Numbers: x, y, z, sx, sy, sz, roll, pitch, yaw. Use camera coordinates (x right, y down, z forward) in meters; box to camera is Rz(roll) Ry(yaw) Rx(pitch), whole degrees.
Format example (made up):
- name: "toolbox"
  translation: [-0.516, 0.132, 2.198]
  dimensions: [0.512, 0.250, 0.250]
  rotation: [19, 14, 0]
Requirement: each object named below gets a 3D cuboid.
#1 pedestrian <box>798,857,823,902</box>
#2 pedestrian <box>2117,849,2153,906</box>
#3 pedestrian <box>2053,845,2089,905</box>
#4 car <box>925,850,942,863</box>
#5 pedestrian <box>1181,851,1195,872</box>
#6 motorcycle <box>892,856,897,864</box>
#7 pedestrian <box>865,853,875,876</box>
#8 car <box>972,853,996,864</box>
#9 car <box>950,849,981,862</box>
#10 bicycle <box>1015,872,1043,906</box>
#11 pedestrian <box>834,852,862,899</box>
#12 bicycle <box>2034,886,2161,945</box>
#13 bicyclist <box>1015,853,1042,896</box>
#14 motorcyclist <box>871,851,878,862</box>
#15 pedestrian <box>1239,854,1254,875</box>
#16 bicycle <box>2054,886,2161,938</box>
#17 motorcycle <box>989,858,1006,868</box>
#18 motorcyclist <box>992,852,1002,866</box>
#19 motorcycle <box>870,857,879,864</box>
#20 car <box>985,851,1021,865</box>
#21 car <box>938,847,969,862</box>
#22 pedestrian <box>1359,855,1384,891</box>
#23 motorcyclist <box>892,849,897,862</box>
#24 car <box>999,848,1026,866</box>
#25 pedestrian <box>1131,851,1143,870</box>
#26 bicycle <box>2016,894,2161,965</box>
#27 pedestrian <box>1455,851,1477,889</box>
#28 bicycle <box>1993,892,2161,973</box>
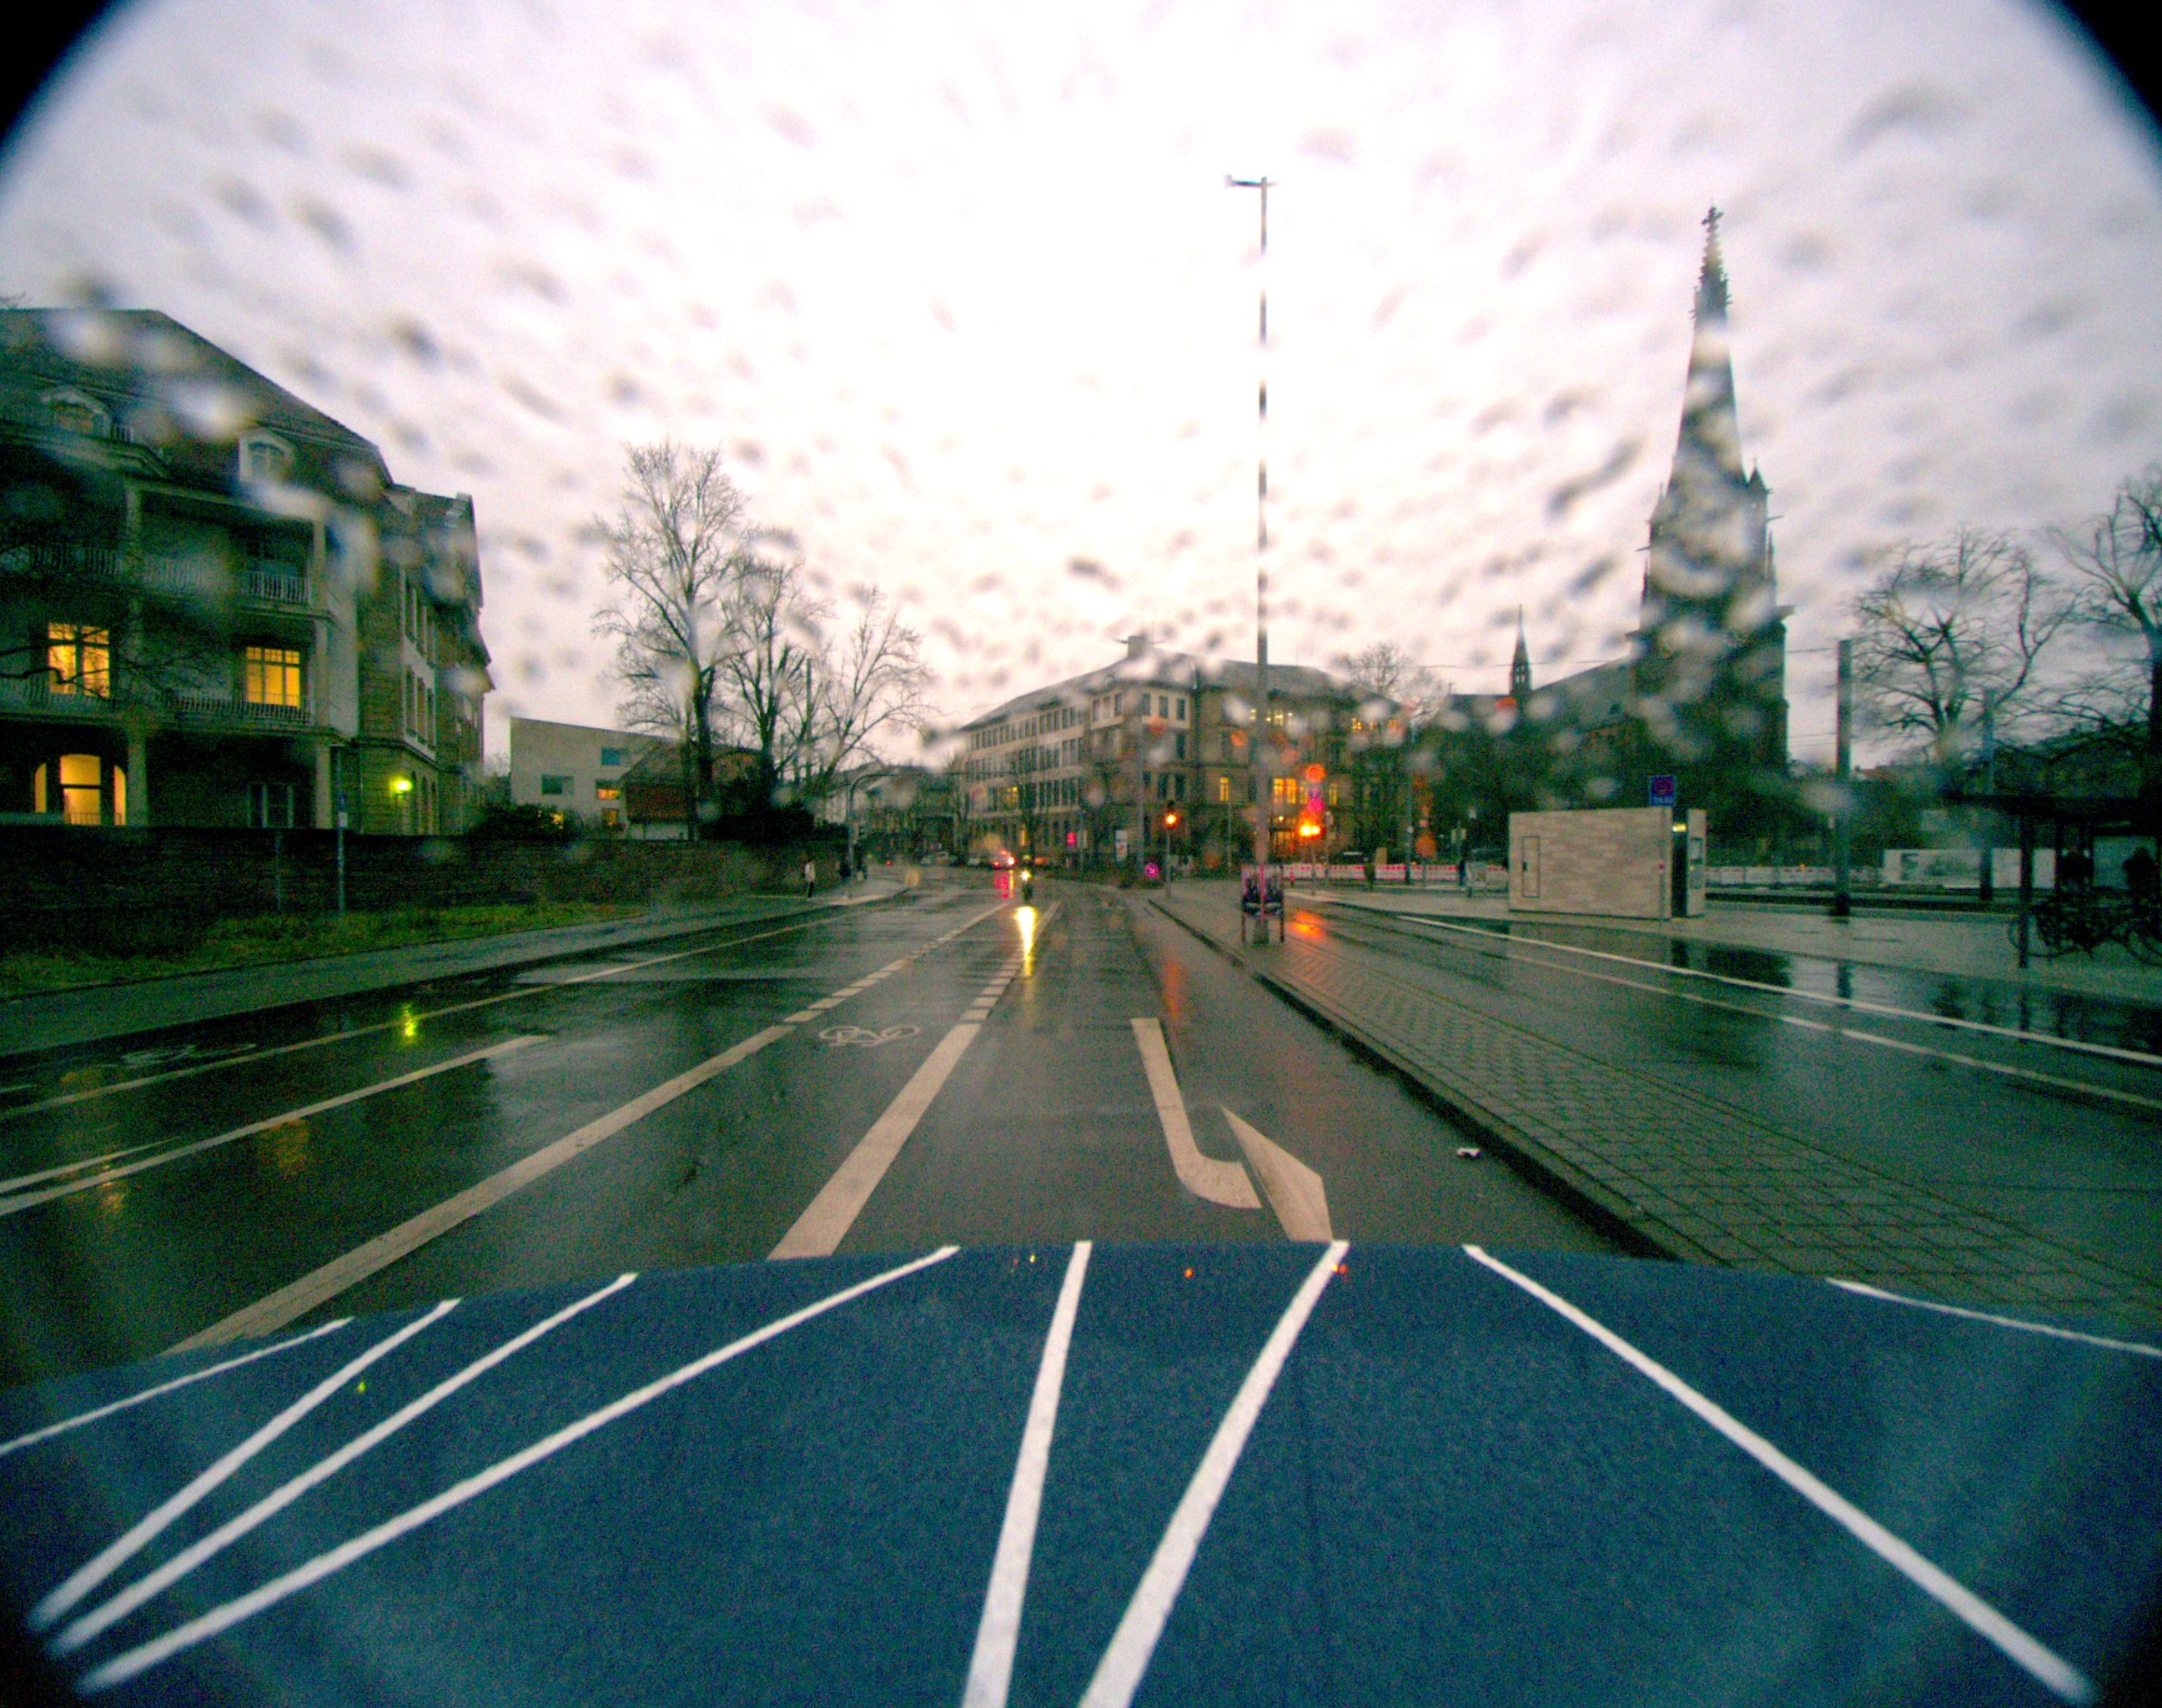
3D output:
- name: "pedestrian"
  translation: [-10.573, 0.988, 29.750]
  dimensions: [0.799, 1.713, 0.673]
  rotation: [1, 1, -10]
- name: "pedestrian"
  translation: [31.045, 0.683, 22.386]
  dimensions: [0.541, 1.642, 0.562]
  rotation: [-3, 2, -41]
- name: "pedestrian"
  translation: [30.233, 0.634, 23.214]
  dimensions: [0.673, 1.785, 0.626]
  rotation: [-3, 2, -41]
- name: "car"
  translation: [-20.737, 0.378, 106.846]
  dimensions: [2.000, 1.660, 3.997]
  rotation: [-2, 1, -7]
- name: "pedestrian"
  translation: [9.506, 0.643, 67.398]
  dimensions: [0.675, 1.890, 0.971]
  rotation: [0, 1, -35]
- name: "motorcycle"
  translation: [-25.337, 0.847, 103.231]
  dimensions: [0.726, 1.048, 2.165]
  rotation: [0, 0, -15]
- name: "pedestrian"
  translation: [-15.117, 0.762, 54.451]
  dimensions: [0.616, 1.644, 0.570]
  rotation: [0, 0, -19]
- name: "car"
  translation: [-12.136, 0.579, 95.307]
  dimensions: [1.706, 1.298, 3.647]
  rotation: [-2, 1, 16]
- name: "car"
  translation: [-15.093, 0.205, 99.406]
  dimensions: [1.797, 1.541, 4.007]
  rotation: [-2, 1, 28]
- name: "bicycle"
  translation: [-1.850, 1.221, 27.131]
  dimensions: [0.785, 1.069, 1.957]
  rotation: [-2, 1, 1]
- name: "pedestrian"
  translation: [-9.536, 0.880, 31.091]
  dimensions: [1.000, 1.890, 0.673]
  rotation: [1, 1, -8]
- name: "bicycle"
  translation: [19.666, 1.162, 14.413]
  dimensions: [0.475, 0.980, 1.921]
  rotation: [-2, 2, -30]
- name: "bicyclist"
  translation: [-1.867, 0.709, 27.109]
  dimensions: [0.785, 1.444, 1.134]
  rotation: [-2, 1, 1]
- name: "motorcyclist"
  translation: [-30.776, 0.345, 113.180]
  dimensions: [0.661, 1.590, 0.836]
  rotation: [0, 0, -34]
- name: "pedestrian"
  translation: [13.806, 0.876, 63.282]
  dimensions: [0.829, 1.714, 0.926]
  rotation: [0, 0, -29]
- name: "bicycle"
  translation: [20.845, 1.153, 15.016]
  dimensions: [0.475, 0.905, 1.921]
  rotation: [-2, 2, -30]
- name: "motorcycle"
  translation: [-8.407, 0.887, 76.442]
  dimensions: [0.714, 1.048, 2.162]
  rotation: [0, 0, -34]
- name: "motorcyclist"
  translation: [-8.462, 0.485, 76.537]
  dimensions: [0.702, 1.375, 0.864]
  rotation: [0, 0, -34]
- name: "motorcycle"
  translation: [-30.814, 0.935, 113.258]
  dimensions: [0.661, 1.048, 2.162]
  rotation: [0, 0, -34]
- name: "car"
  translation: [-9.281, 0.485, 90.536]
  dimensions: [1.797, 1.541, 4.007]
  rotation: [-1, 1, 45]
- name: "car"
  translation: [-16.997, 0.081, 101.471]
  dimensions: [2.043, 1.889, 4.007]
  rotation: [-2, 1, 28]
- name: "pedestrian"
  translation: [13.789, 0.885, 36.091]
  dimensions: [0.771, 1.651, 1.210]
  rotation: [-1, 1, 36]
- name: "motorcyclist"
  translation: [-25.318, 0.241, 103.202]
  dimensions: [0.711, 1.707, 0.741]
  rotation: [0, 0, -14]
- name: "car"
  translation: [-7.494, 0.352, 83.733]
  dimensions: [1.881, 1.835, 4.003]
  rotation: [-2, 1, 11]
- name: "pedestrian"
  translation: [5.396, 0.593, 73.516]
  dimensions: [0.675, 1.806, 0.895]
  rotation: [0, 1, -36]
- name: "bicycle"
  translation: [16.614, 1.206, 12.215]
  dimensions: [0.475, 0.980, 1.921]
  rotation: [-2, 2, -30]
- name: "pedestrian"
  translation: [18.535, 0.778, 36.619]
  dimensions: [0.825, 1.785, 0.671]
  rotation: [-2, 1, 21]
- name: "bicycle"
  translation: [15.496, 1.173, 11.611]
  dimensions: [0.475, 1.064, 1.921]
  rotation: [-2, 2, -30]
